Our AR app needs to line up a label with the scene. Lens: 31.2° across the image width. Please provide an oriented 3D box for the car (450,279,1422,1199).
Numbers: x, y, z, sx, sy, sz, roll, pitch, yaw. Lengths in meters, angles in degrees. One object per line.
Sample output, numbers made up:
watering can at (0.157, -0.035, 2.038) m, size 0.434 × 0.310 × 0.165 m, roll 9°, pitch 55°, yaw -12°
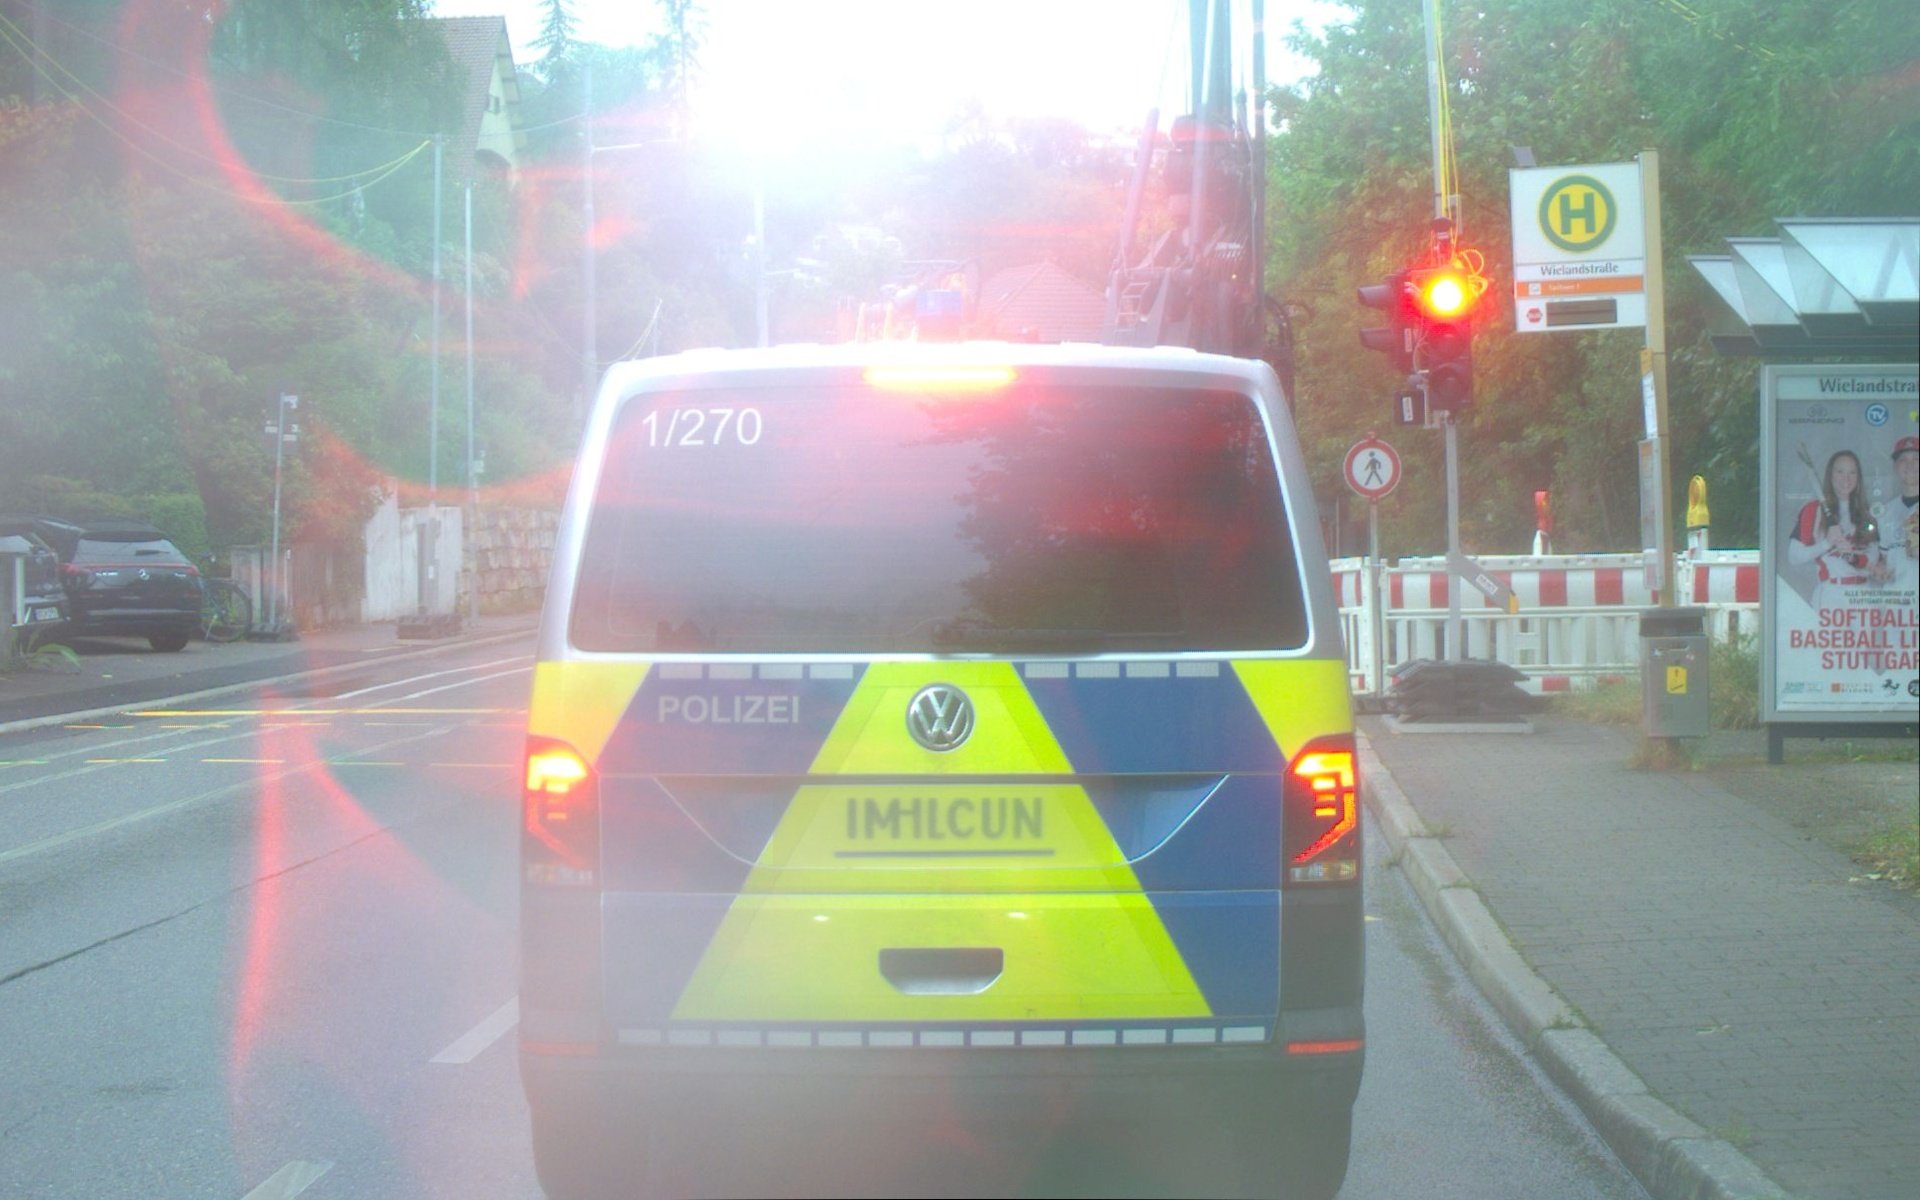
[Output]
car at (-0.074, 0.356, 9.058) m, size 1.908 × 2.003 × 4.440 m, roll 1°, pitch 1°, yaw -1°

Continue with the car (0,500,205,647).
car at (-10.028, -0.315, 37.711) m, size 1.781 × 1.520 × 3.999 m, roll 0°, pitch 1°, yaw -39°

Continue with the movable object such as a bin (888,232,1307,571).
movable object such as a bin at (2.369, -3.057, 55.839) m, size 3.689 × 5.049 × 7.150 m, roll -1°, pitch 0°, yaw 32°

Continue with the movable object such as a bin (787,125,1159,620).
movable object such as a bin at (0.234, -2.007, 31.582) m, size 2.879 × 4.156 × 4.486 m, roll -1°, pitch 2°, yaw 6°

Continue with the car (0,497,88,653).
car at (-11.124, -0.284, 34.796) m, size 3.989 × 1.520 × 1.940 m, roll 1°, pitch 1°, yaw 13°
